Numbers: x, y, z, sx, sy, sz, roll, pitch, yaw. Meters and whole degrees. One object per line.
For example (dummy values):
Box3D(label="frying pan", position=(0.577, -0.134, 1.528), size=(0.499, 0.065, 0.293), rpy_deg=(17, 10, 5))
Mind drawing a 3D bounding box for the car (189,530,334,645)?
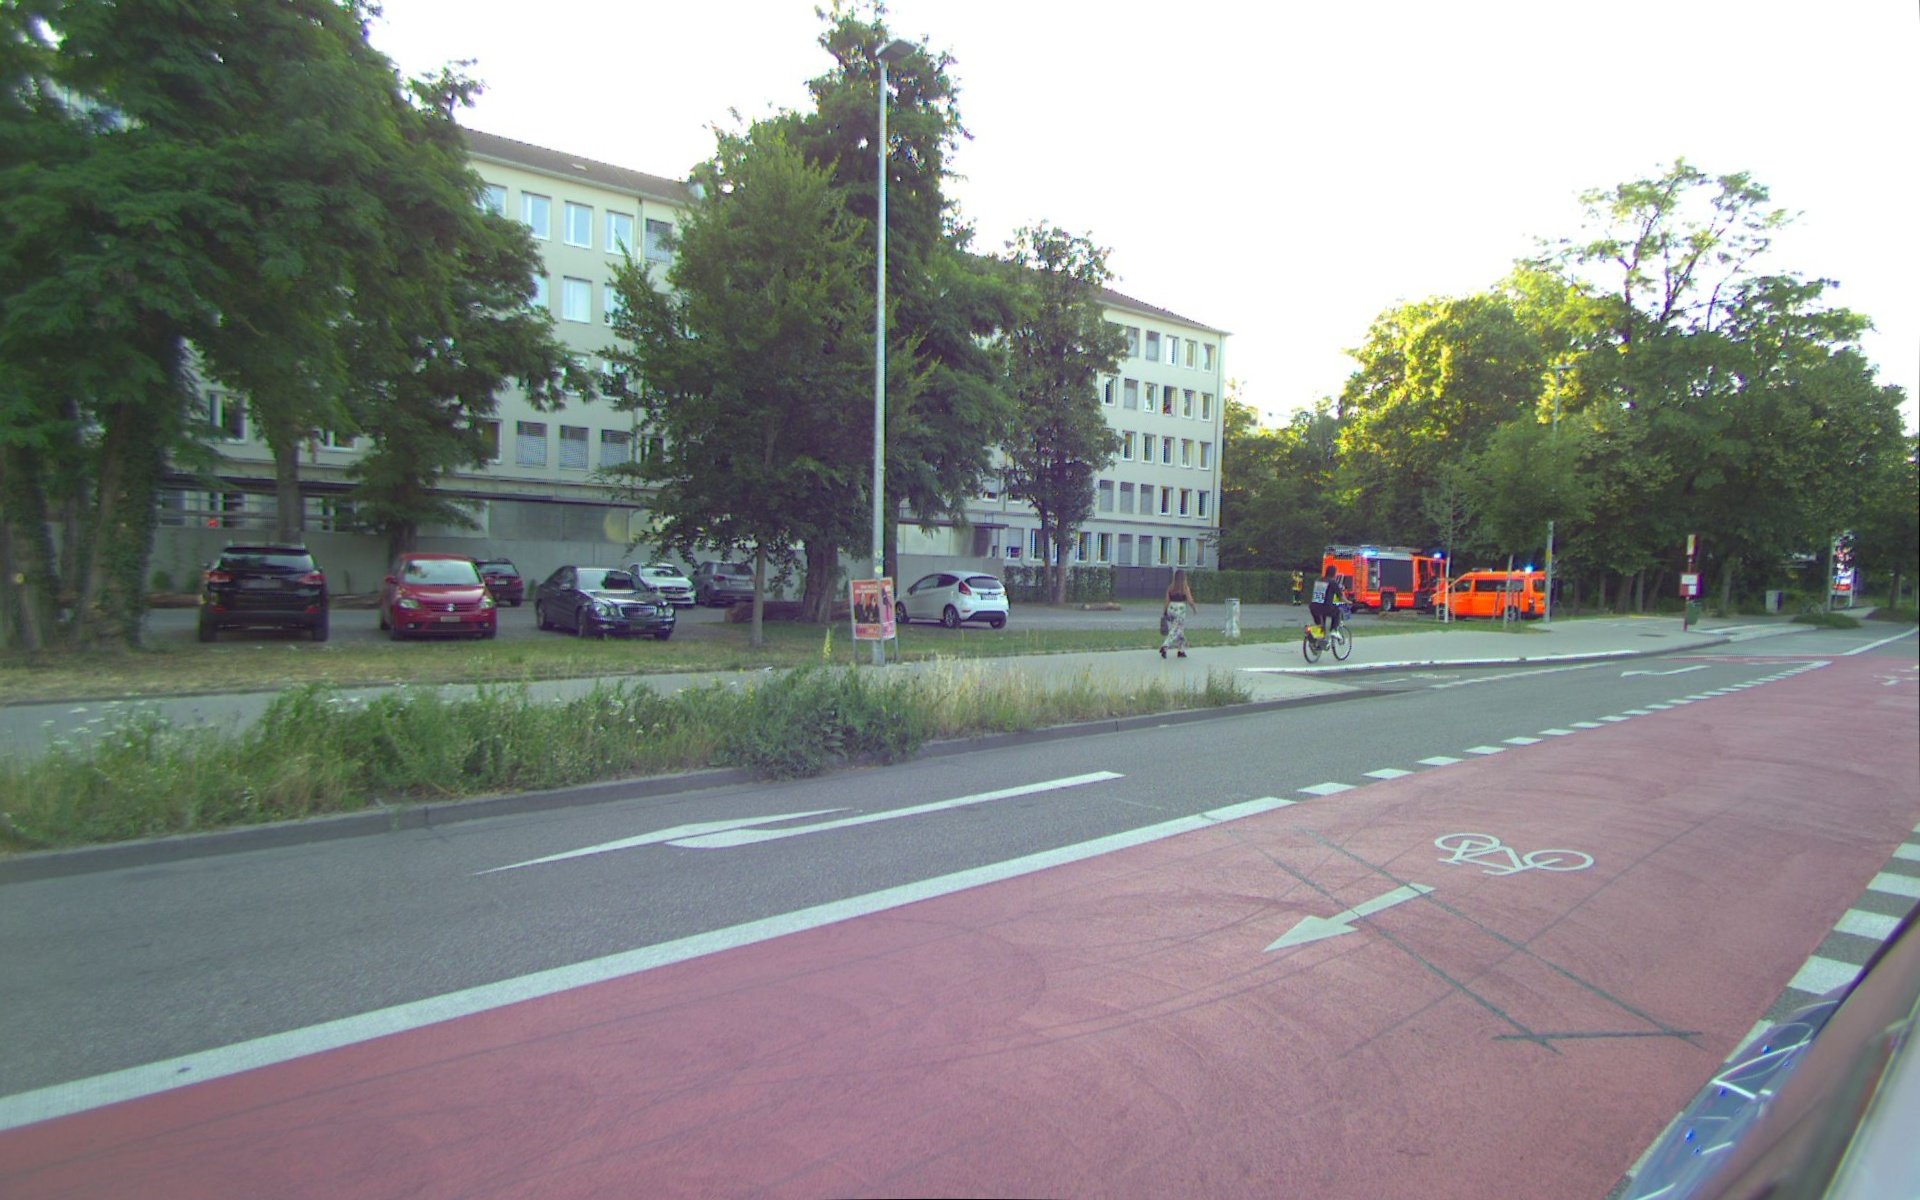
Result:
Box3D(label="car", position=(-12.292, -0.291, 17.864), size=(1.882, 1.761, 4.241), rpy_deg=(0, 2, -35))

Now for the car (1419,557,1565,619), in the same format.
Box3D(label="car", position=(22.779, -0.569, 43.555), size=(1.963, 2.422, 5.168), rpy_deg=(0, 2, -37))

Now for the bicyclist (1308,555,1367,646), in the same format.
Box3D(label="bicyclist", position=(7.038, -0.004, 18.851), size=(1.019, 1.652, 0.571), rpy_deg=(0, 2, -41))

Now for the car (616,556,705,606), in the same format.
Box3D(label="car", position=(-10.020, -0.658, 33.687), size=(1.880, 1.540, 3.921), rpy_deg=(0, 2, -32))

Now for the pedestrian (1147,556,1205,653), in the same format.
Box3D(label="pedestrian", position=(3.800, 0.071, 17.823), size=(0.676, 1.642, 0.682), rpy_deg=(1, 2, -41))

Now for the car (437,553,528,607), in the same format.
Box3D(label="car", position=(-14.527, -0.637, 30.700), size=(1.738, 1.477, 3.626), rpy_deg=(0, 3, -38))

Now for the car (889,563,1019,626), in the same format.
Box3D(label="car", position=(-0.223, -0.190, 26.857), size=(1.633, 1.477, 3.667), rpy_deg=(0, 2, -35))

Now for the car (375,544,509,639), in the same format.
Box3D(label="car", position=(-10.111, -0.231, 19.598), size=(1.882, 1.630, 4.003), rpy_deg=(0, 2, -33))

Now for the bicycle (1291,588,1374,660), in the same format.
Box3D(label="bicycle", position=(6.929, 0.417, 18.777), size=(1.866, 1.256, 0.571), rpy_deg=(0, 2, -41))

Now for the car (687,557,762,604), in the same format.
Box3D(label="car", position=(-8.204, -0.701, 35.084), size=(1.734, 1.477, 3.320), rpy_deg=(1, 2, -27))

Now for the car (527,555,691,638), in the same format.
Box3D(label="car", position=(-7.386, -0.141, 20.991), size=(1.883, 1.482, 4.519), rpy_deg=(0, 3, -37))

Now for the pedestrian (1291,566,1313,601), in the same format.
Box3D(label="pedestrian", position=(18.742, -0.915, 55.482), size=(0.670, 1.864, 0.846), rpy_deg=(1, 1, -37))

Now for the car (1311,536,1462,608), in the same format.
Box3D(label="car", position=(20.965, -1.350, 49.518), size=(8.138, 3.283, 2.775), rpy_deg=(0, 2, -34))
